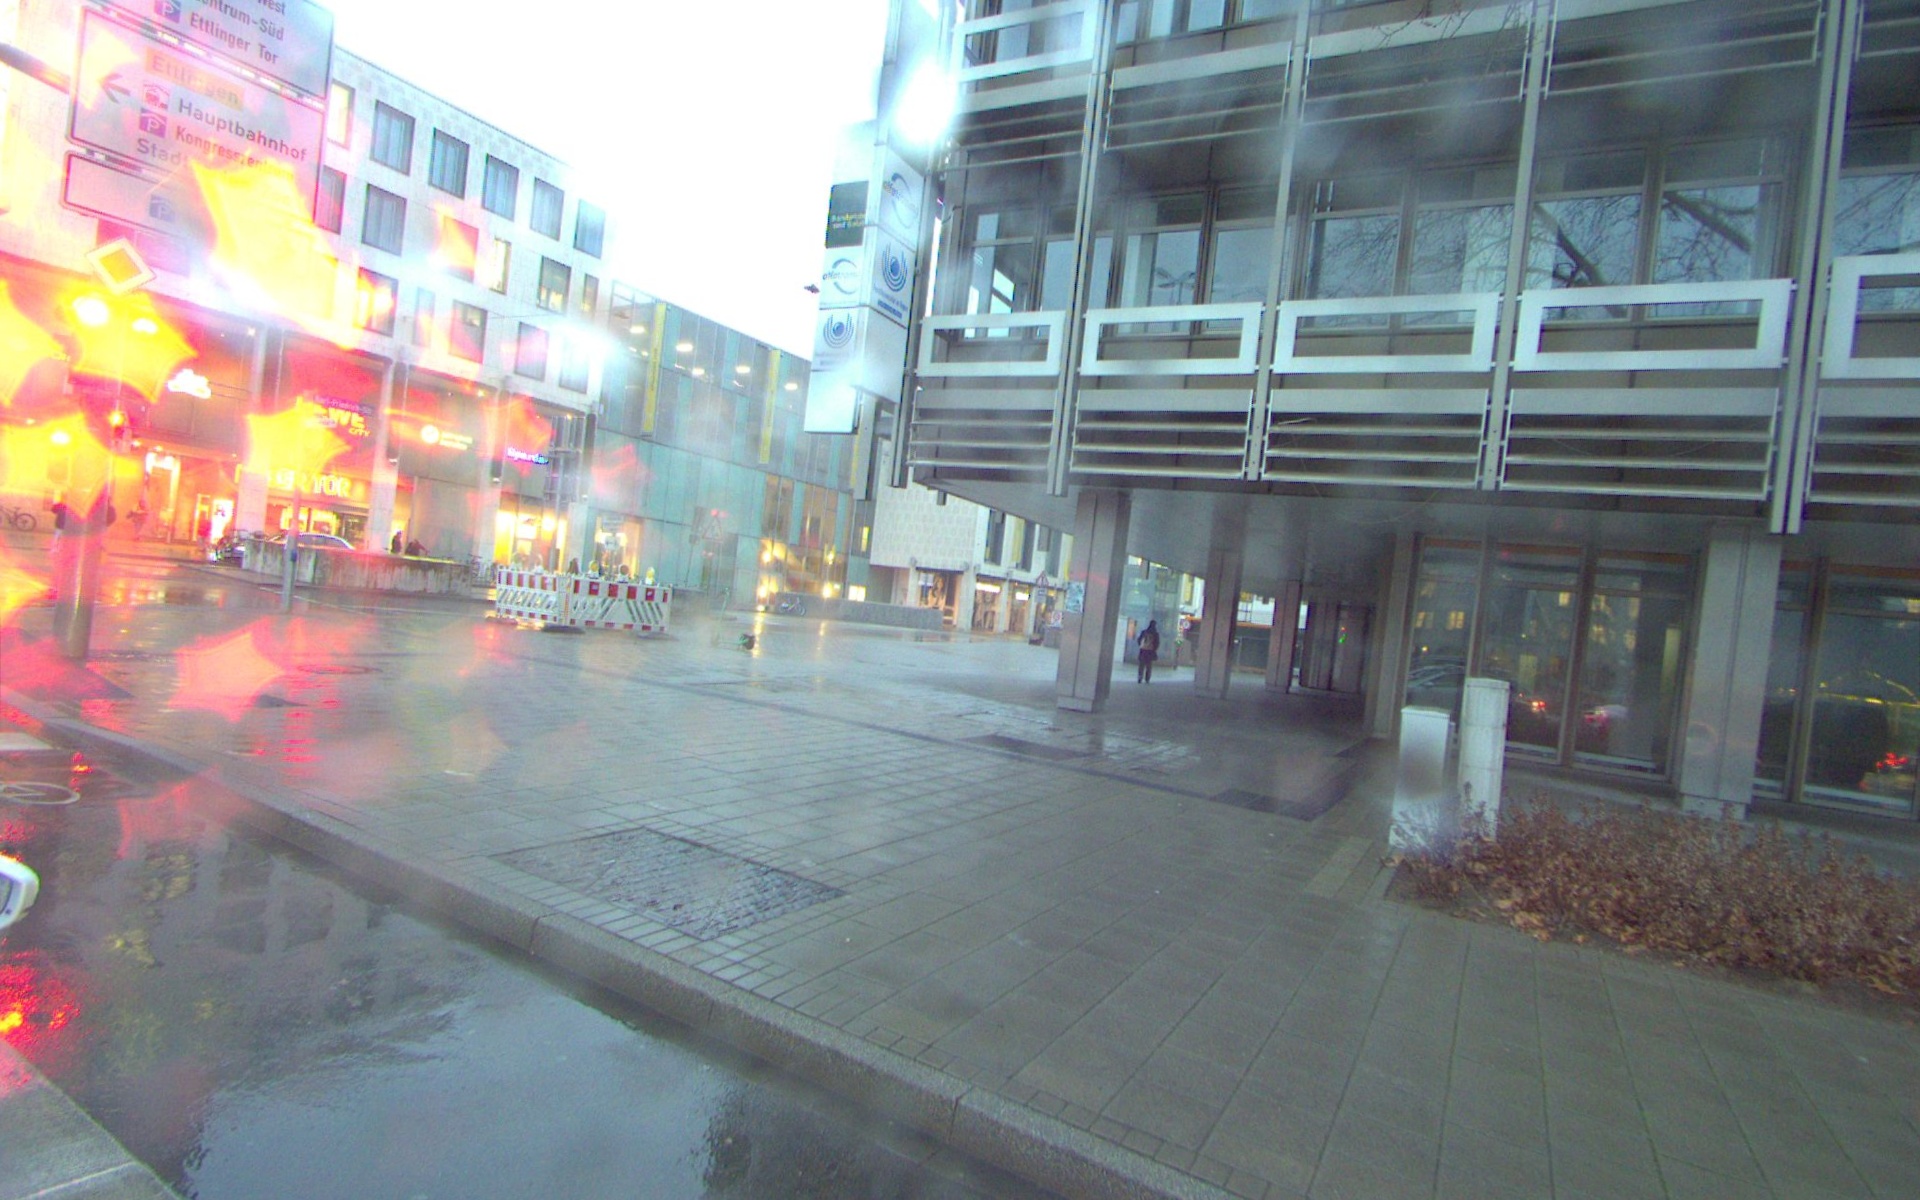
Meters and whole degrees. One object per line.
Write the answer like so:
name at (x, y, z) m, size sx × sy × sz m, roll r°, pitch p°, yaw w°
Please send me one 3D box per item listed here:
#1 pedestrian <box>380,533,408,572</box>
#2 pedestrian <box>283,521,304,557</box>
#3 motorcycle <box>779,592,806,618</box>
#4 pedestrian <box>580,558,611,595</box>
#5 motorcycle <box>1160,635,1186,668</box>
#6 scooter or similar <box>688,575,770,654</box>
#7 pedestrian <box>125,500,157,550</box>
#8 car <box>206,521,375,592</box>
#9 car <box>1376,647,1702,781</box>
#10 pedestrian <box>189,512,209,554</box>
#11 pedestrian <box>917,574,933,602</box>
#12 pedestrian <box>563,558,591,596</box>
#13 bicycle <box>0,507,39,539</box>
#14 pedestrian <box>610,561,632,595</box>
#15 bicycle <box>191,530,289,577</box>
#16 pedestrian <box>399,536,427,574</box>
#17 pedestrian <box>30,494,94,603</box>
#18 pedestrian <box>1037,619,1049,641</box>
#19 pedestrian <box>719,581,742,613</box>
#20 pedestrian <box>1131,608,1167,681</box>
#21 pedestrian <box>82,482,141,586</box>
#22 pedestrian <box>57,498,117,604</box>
pedestrian at (-26.631, -2.226, 47.341) m, size 0.770 × 1.703 × 0.742 m, roll 6°, pitch -1°, yaw 38°
pedestrian at (-34.244, -3.144, 51.722) m, size 0.729 × 1.740 × 0.733 m, roll 6°, pitch 1°, yaw -31°
motorcycle at (-10.162, 0.290, 61.171) m, size 0.585 × 1.368 × 1.491 m, roll 7°, pitch -1°, yaw 36°
pedestrian at (-18.696, -1.196, 51.607) m, size 0.810 × 1.703 × 1.032 m, roll 6°, pitch -1°, yaw 31°
motorcycle at (9.757, 2.368, 46.021) m, size 0.584 × 1.368 × 1.493 m, roll 7°, pitch -1°, yaw 29°
scooter or similar at (-4.649, 0.287, 20.214) m, size 1.470 × 1.368 × 0.593 m, roll 7°, pitch -1°, yaw 32°
pedestrian at (-35.662, -3.284, 43.808) m, size 0.688 × 2.039 × 0.845 m, roll 7°, pitch 1°, yaw 40°
car at (-21.673, -1.373, 32.714) m, size 1.968 × 1.636 × 3.994 m, roll 6°, pitch -2°, yaw 33°
car at (8.660, 1.625, 15.272) m, size 3.935 × 1.327 × 1.994 m, roll 6°, pitch 1°, yaw 33°
pedestrian at (-31.451, -2.756, 41.587) m, size 0.480 × 1.683 × 0.454 m, roll 6°, pitch 1°, yaw -28°
pedestrian at (-2.232, -0.779, 64.101) m, size 0.573 × 1.703 × 0.542 m, roll 6°, pitch -1°, yaw 38°
pedestrian at (-18.280, -1.093, 48.024) m, size 0.770 × 1.703 × 0.742 m, roll 6°, pitch -1°, yaw 38°
bicycle at (-36.484, -2.994, 38.494) m, size 0.515 × 1.082 × 1.651 m, roll 7°, pitch -2°, yaw 28°
pedestrian at (-19.175, -1.245, 56.849) m, size 0.786 × 1.760 × 0.767 m, roll 6°, pitch 1°, yaw -43°
bicycle at (-26.346, -1.683, 36.887) m, size 0.941 × 1.375 × 2.718 m, roll 6°, pitch -1°, yaw 28°
pedestrian at (-26.520, -2.173, 48.779) m, size 0.519 × 1.705 × 0.894 m, roll 6°, pitch 0°, yaw 31°
pedestrian at (-21.307, -1.221, 23.884) m, size 0.745 × 2.469 × 0.716 m, roll 7°, pitch -1°, yaw 31°
pedestrian at (6.763, 2.474, 81.830) m, size 0.573 × 1.703 × 0.542 m, roll 6°, pitch -1°, yaw 38°
pedestrian at (-13.187, -0.146, 57.802) m, size 0.770 × 1.703 × 0.742 m, roll 6°, pitch -1°, yaw 38°
pedestrian at (4.949, 1.175, 26.358) m, size 0.678 × 1.796 × 0.660 m, roll 7°, pitch -1°, yaw 16°
pedestrian at (-21.386, -1.660, 25.370) m, size 0.778 × 2.477 × 0.694 m, roll 7°, pitch -1°, yaw 32°
pedestrian at (-21.419, -1.204, 24.691) m, size 0.745 × 2.469 × 0.691 m, roll 7°, pitch -1°, yaw 31°
